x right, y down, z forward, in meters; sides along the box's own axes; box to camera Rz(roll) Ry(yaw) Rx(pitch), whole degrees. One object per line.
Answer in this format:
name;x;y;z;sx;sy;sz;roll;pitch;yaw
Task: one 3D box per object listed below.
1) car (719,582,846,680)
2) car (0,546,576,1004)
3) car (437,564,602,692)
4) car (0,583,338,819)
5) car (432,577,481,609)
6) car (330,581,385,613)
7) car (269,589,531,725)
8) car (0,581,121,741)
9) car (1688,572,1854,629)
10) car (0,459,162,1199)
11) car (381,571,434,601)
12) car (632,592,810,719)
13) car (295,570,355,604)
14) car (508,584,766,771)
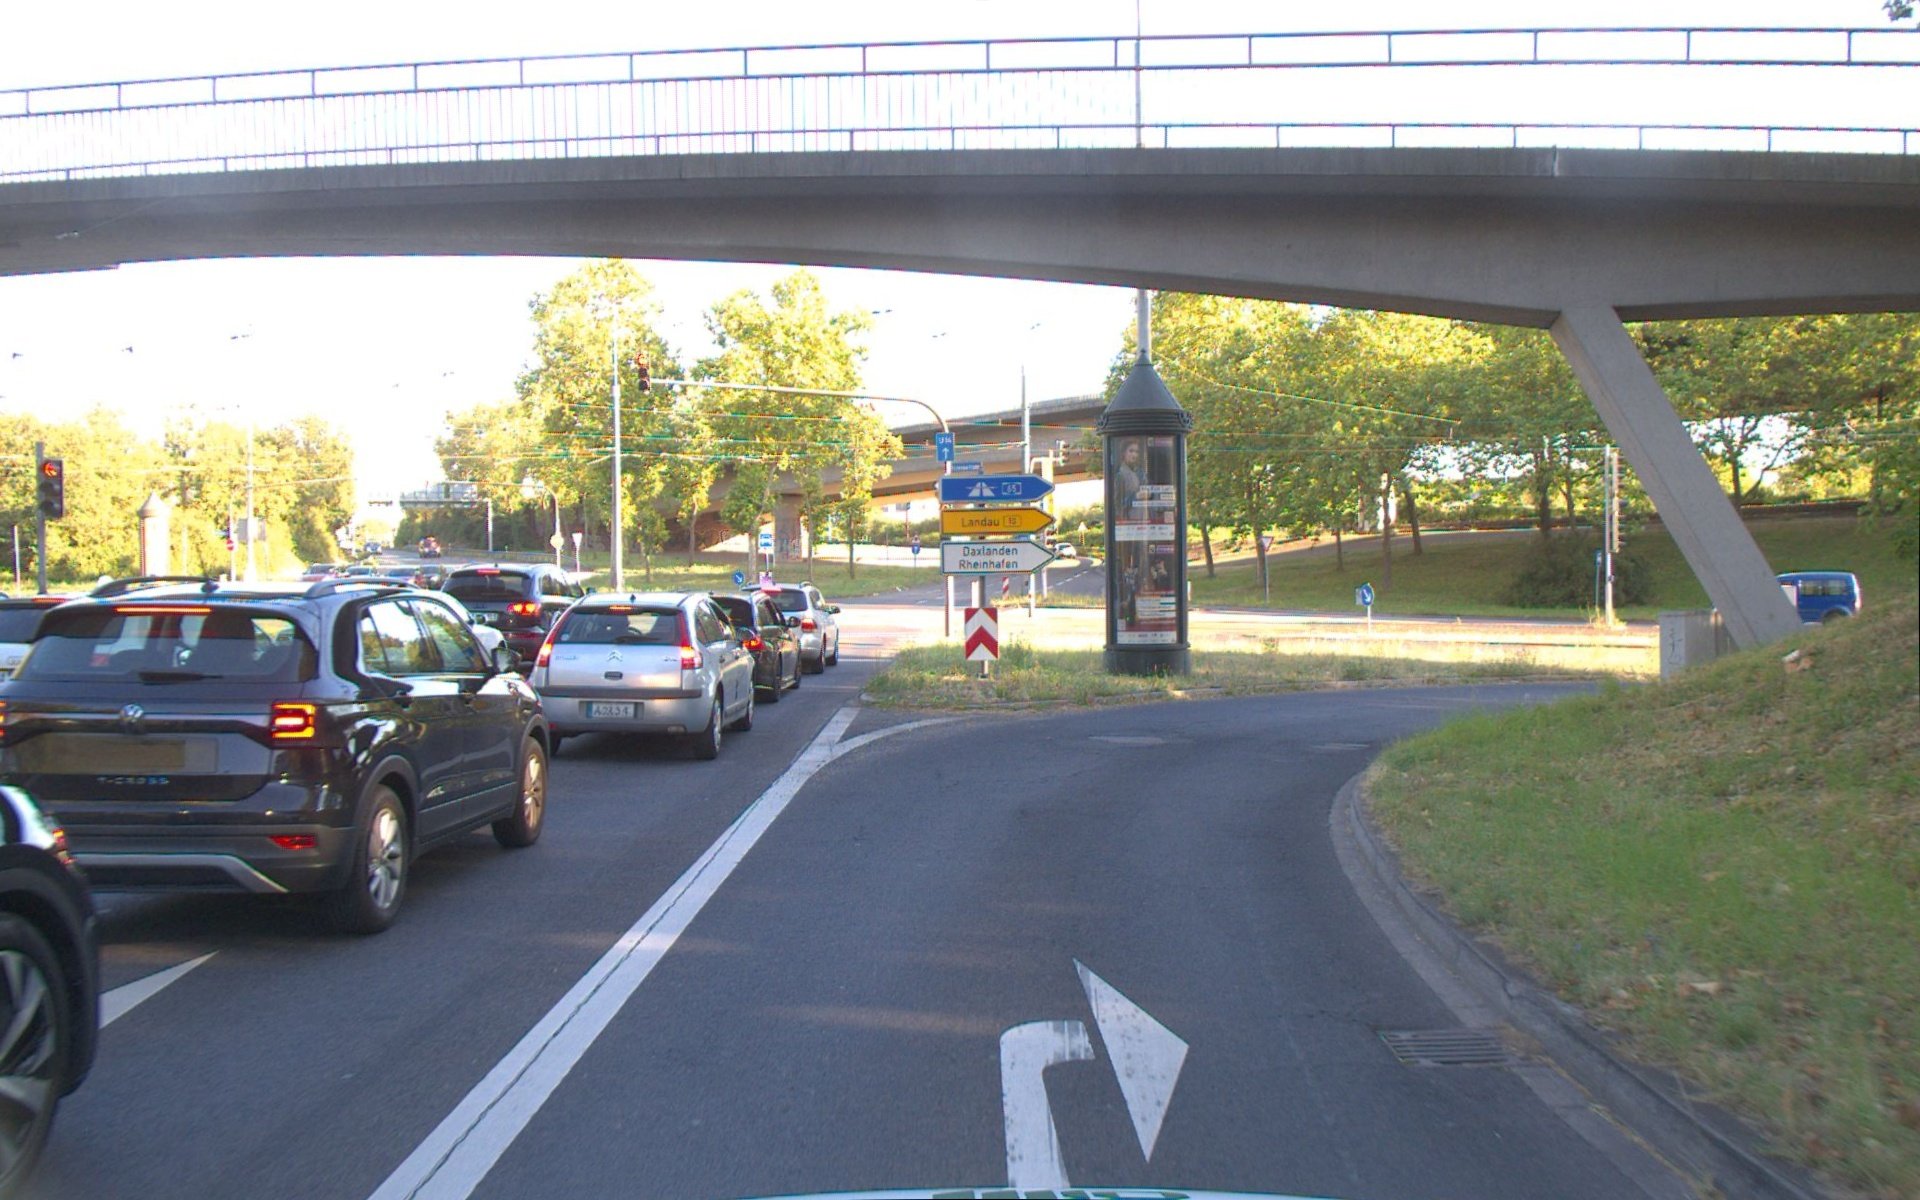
car;-3.014;0.477;28.798;1.756;1.467;4.000;-3;1;-1
car;-3.376;0.674;8.662;1.756;1.780;4.000;-3;1;-1
car;-7.064;0.376;27.012;1.758;1.823;4.821;-3;1;-6
car;-6.820;0.712;13.812;1.629;1.592;4.190;-3;1;-1
car;-30.243;-0.441;99.391;1.841;1.802;3.999;0;1;-2
car;-35.265;-0.193;96.874;1.841;1.802;3.999;0;1;-2
car;-6.850;0.628;20.740;1.706;1.457;4.412;0;1;1
car;-10.522;0.654;17.087;1.629;1.592;4.000;-3;1;-1
car;25.265;-0.009;51.695;4.410;1.722;2.001;1;1;19
car;-3.097;0.626;2.427;1.756;1.780;4.241;-3;1;-1
car;-30.817;-0.799;92.342;1.841;1.602;3.673;0;1;-2
car;-3.124;0.668;22.445;1.756;1.406;4.476;-3;1;-1
car;-34.322;-0.735;89.525;1.841;1.802;3.999;0;1;-2
car;-3.046;0.653;16.409;1.756;1.507;4.000;-3;1;-1
